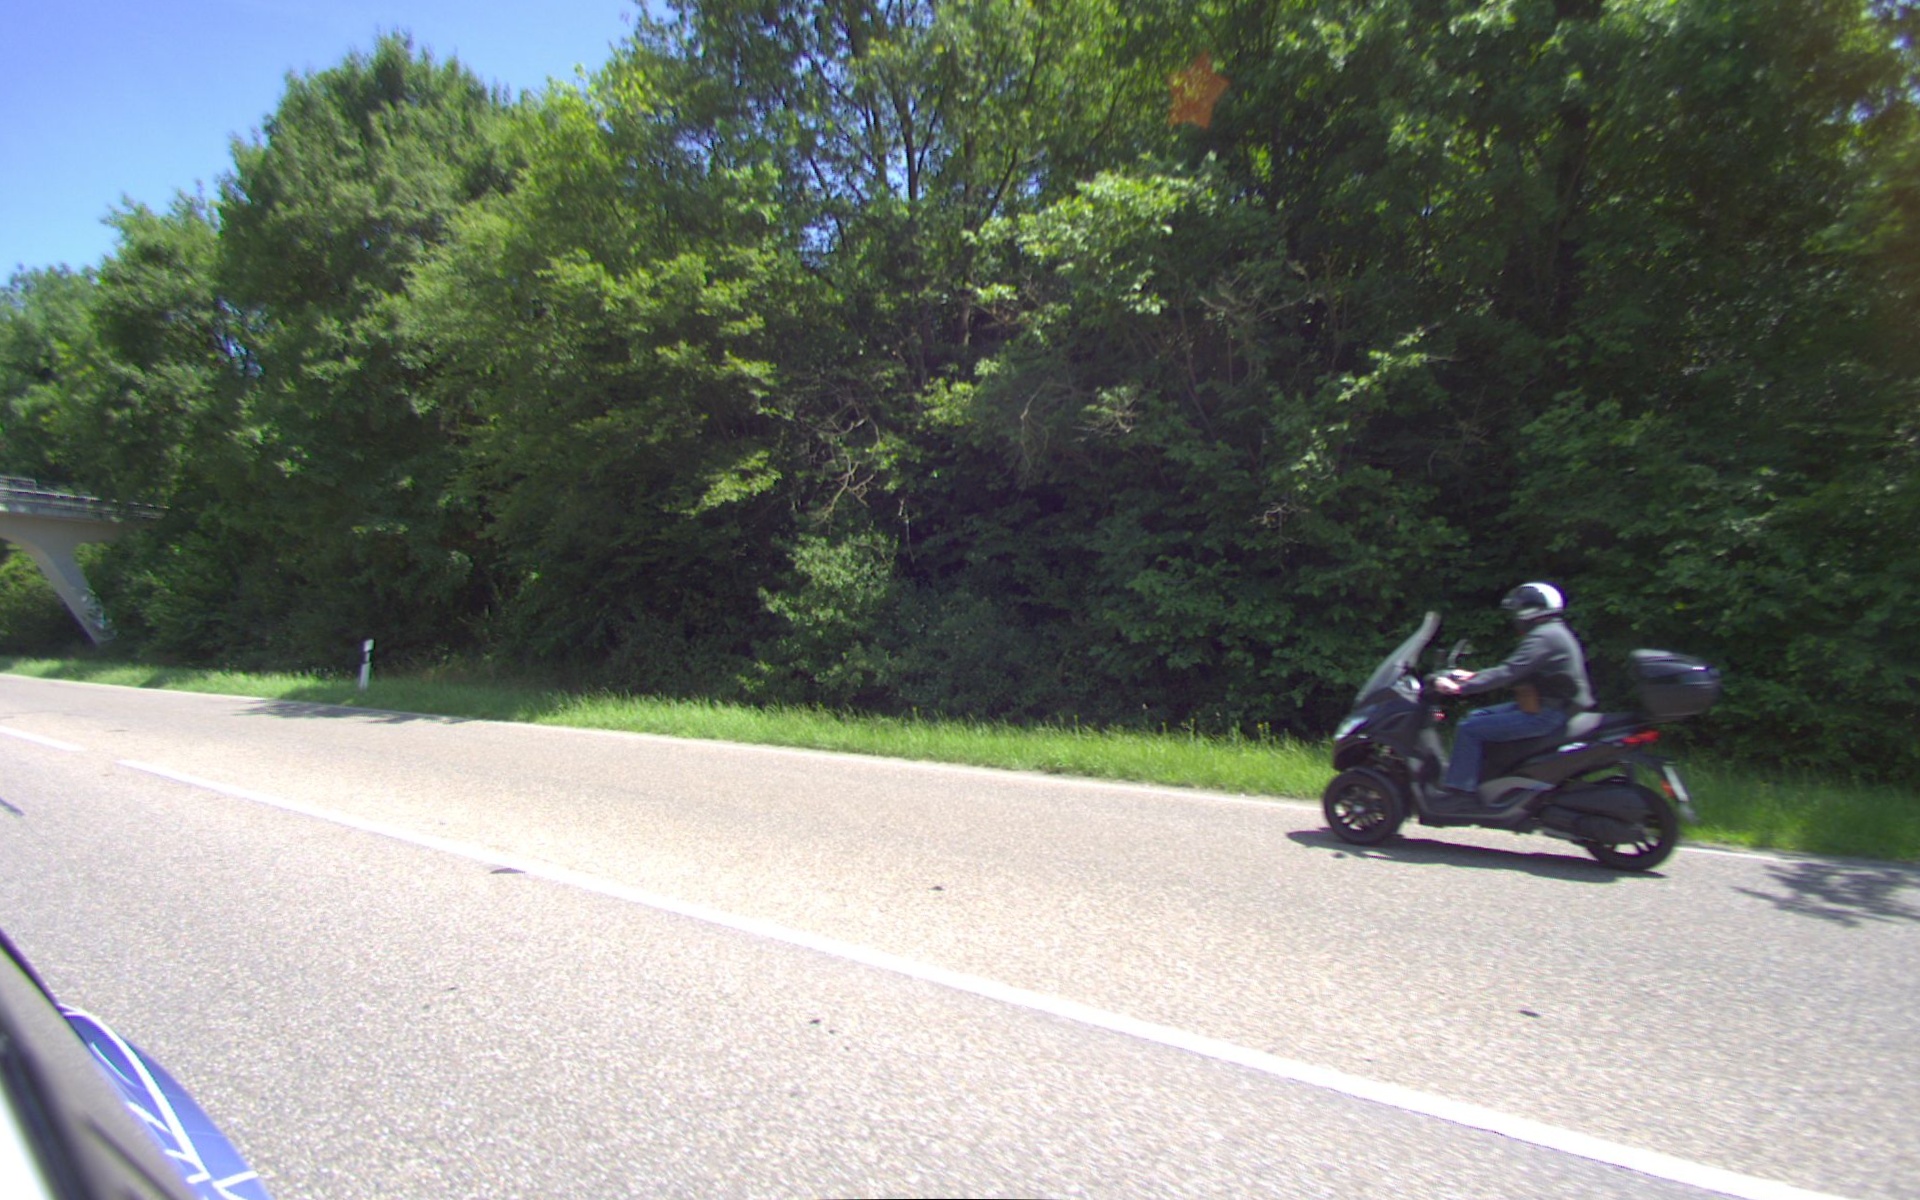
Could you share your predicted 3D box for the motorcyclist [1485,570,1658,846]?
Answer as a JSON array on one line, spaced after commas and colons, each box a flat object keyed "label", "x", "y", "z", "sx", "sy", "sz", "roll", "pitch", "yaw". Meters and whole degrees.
[{"label": "motorcyclist", "x": 3.588, "y": 0.589, "z": 5.956, "sx": 0.811, "sy": 1.486, "sz": 0.664, "roll": -1, "pitch": -1, "yaw": 33}]

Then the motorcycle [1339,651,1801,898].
[{"label": "motorcycle", "x": 3.494, "y": 0.925, "z": 6.014, "sx": 2.225, "sy": 1.183, "sz": 0.665, "roll": -1, "pitch": -1, "yaw": 34}]
